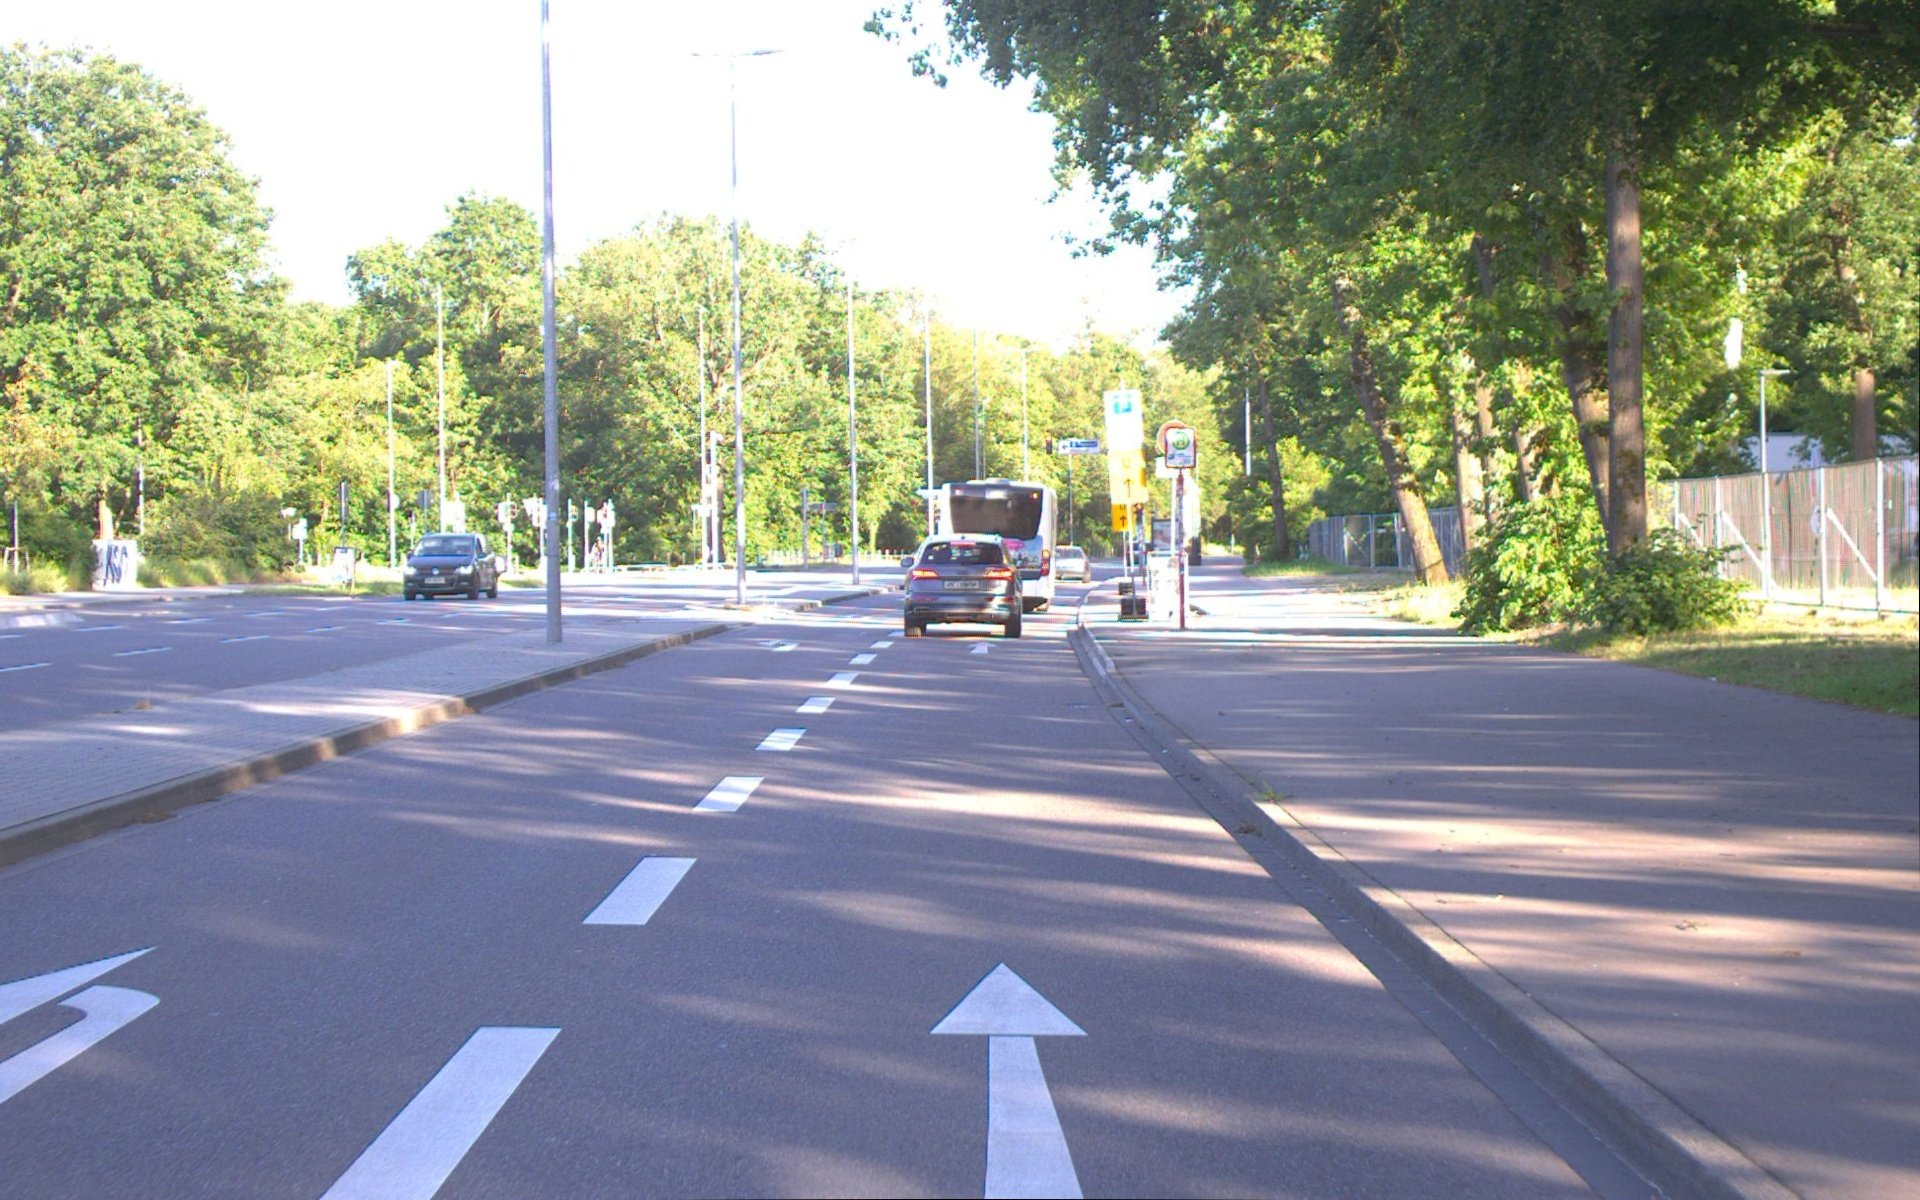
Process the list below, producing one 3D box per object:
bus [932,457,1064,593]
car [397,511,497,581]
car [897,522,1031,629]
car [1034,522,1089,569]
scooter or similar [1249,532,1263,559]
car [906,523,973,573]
[{"bbox_3d":[0.985,-1.720,81.057,2.595,2.978,9.326,1,1,4],"label":"bus"},{"bbox_3d":[-12.926,-1.386,86.871,1.783,1.686,4.703,1,2,0],"label":"car"},{"bbox_3d":[0.097,-0.427,55.830,1.899,1.626,4.000,1,1,4],"label":"car"},{"bbox_3d":[3.857,-2.053,129.520,1.910,1.722,4.579,1,1,3],"label":"car"},{"bbox_3d":[15.940,-2.957,184.960,0.508,1.439,2.023,-1,1,-1],"label":"scooter or similar"},{"bbox_3d":[-0.626,-1.648,107.688,1.836,1.513,4.000,0,1,4],"label":"car"}]
